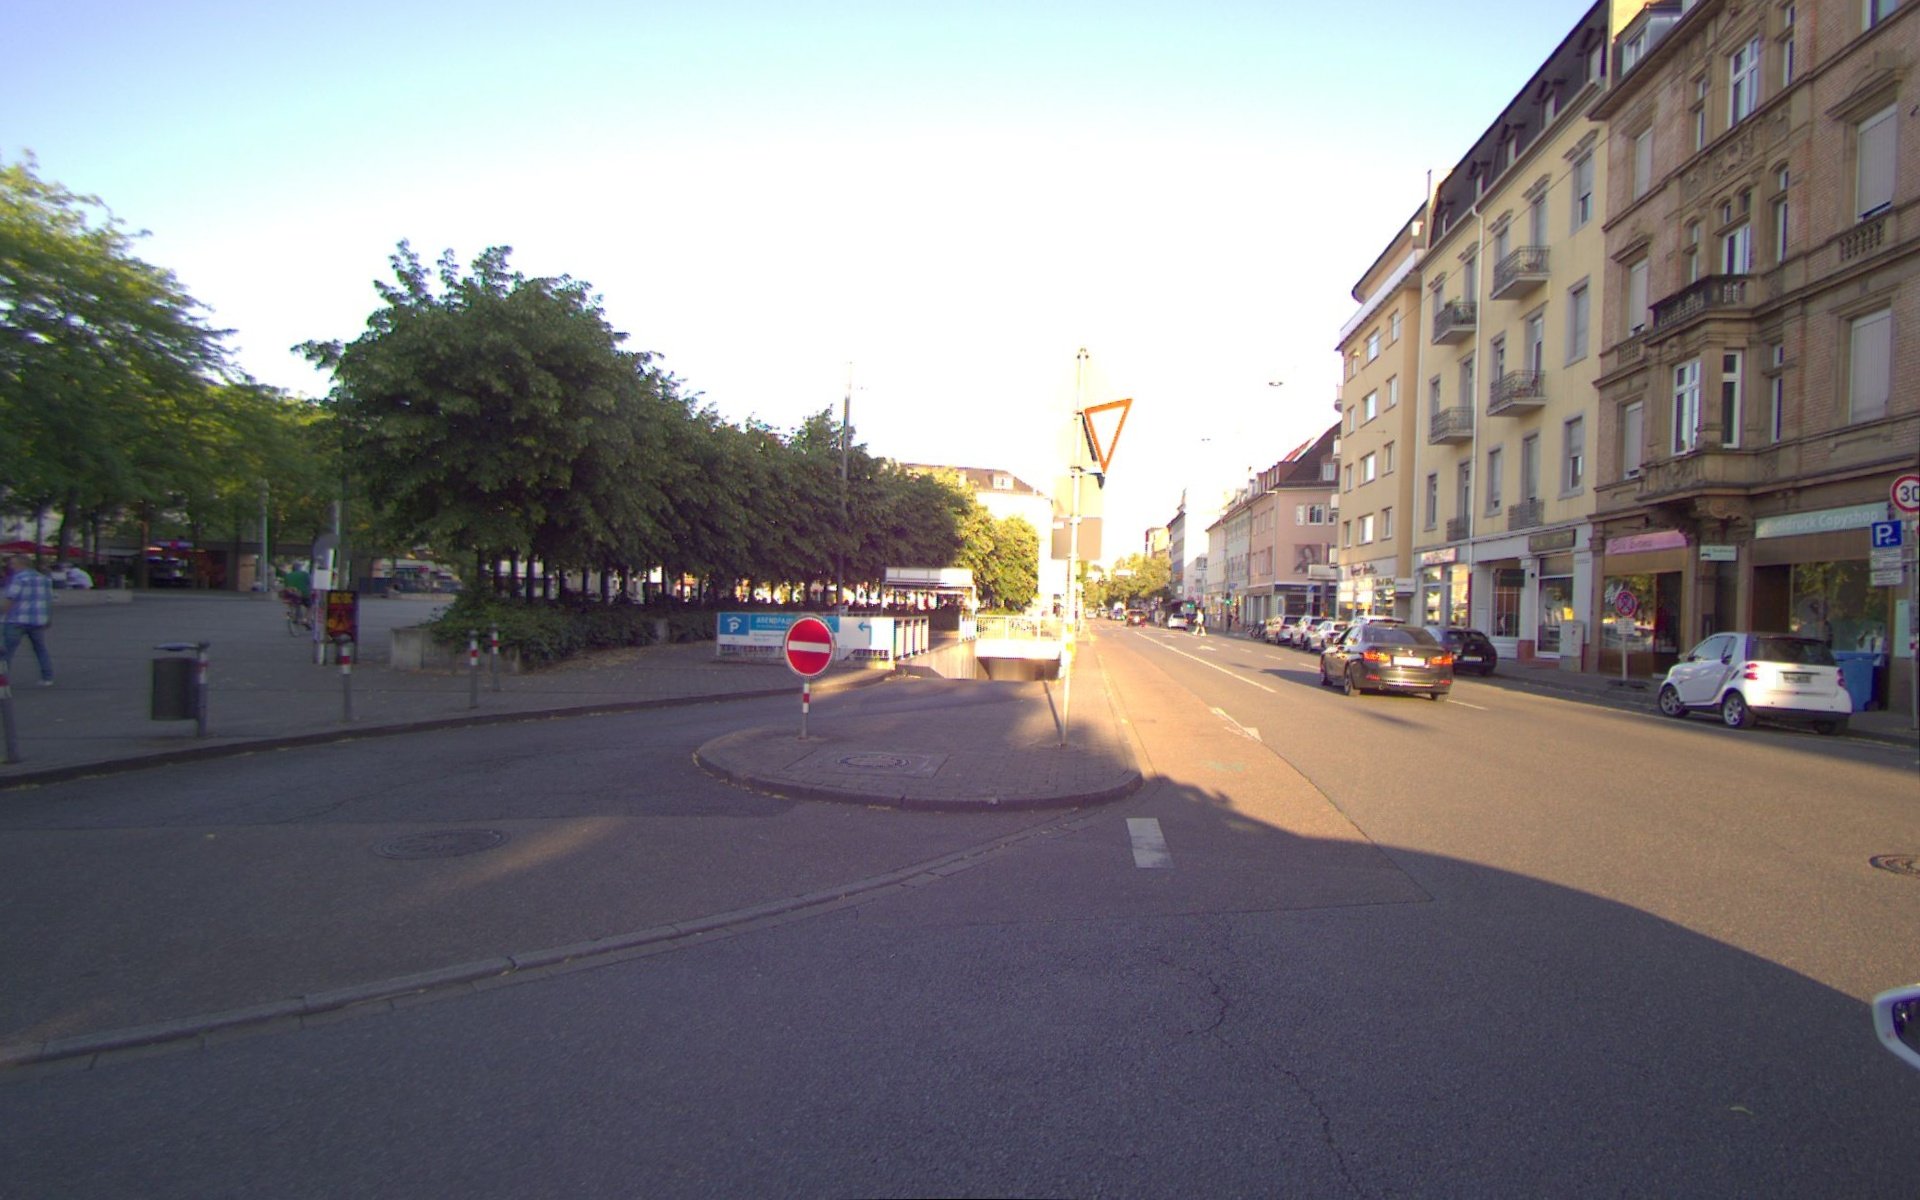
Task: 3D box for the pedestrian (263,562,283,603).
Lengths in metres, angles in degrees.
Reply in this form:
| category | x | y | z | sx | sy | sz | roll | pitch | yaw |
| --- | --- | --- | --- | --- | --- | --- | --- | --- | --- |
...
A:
| category | x | y | z | sx | sy | sz | roll | pitch | yaw |
| --- | --- | --- | --- | --- | --- | --- | --- | --- | --- |
| pedestrian | -33.260 | -0.845 | 48.614 | 0.722 | 1.974 | 0.798 | 2 | 0 | -32 |

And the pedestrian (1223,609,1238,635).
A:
| category | x | y | z | sx | sy | sz | roll | pitch | yaw |
| --- | --- | --- | --- | --- | --- | --- | --- | --- | --- |
| pedestrian | 18.836 | 1.511 | 69.918 | 0.781 | 1.743 | 0.812 | 2 | 0 | 0 |

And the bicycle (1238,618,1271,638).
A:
| category | x | y | z | sx | sy | sz | roll | pitch | yaw |
| --- | --- | --- | --- | --- | --- | --- | --- | --- | --- |
| bicycle | 18.489 | 1.741 | 63.059 | 1.852 | 1.127 | 0.602 | 2 | 0 | 4 |

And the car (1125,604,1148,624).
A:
| category | x | y | z | sx | sy | sz | roll | pitch | yaw |
| --- | --- | --- | --- | --- | --- | --- | --- | --- | --- |
| car | 17.448 | 1.361 | 99.181 | 1.959 | 1.773 | 4.002 | 2 | 0 | 7 |

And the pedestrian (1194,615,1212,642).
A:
| category | x | y | z | sx | sy | sz | roll | pitch | yaw |
| --- | --- | --- | --- | --- | --- | --- | --- | --- | --- |
| pedestrian | 16.270 | 1.918 | 67.207 | 0.858 | 1.743 | 0.756 | 2 | 0 | -18 |

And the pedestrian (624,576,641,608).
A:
| category | x | y | z | sx | sy | sz | roll | pitch | yaw |
| --- | --- | --- | --- | --- | --- | --- | --- | --- | --- |
| pedestrian | -20.245 | -0.501 | 62.065 | 0.723 | 1.974 | 0.797 | 2 | 0 | -33 |

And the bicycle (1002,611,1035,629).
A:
| category | x | y | z | sx | sy | sz | roll | pitch | yaw |
| --- | --- | --- | --- | --- | --- | --- | --- | --- | --- |
| bicycle | 3.718 | 1.288 | 63.916 | 2.009 | 0.984 | 0.636 | 4 | 0 | 5 |

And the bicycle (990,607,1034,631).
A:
| category | x | y | z | sx | sy | sz | roll | pitch | yaw |
| --- | --- | --- | --- | --- | --- | --- | --- | --- | --- |
| bicycle | 3.164 | 1.149 | 61.180 | 2.465 | 1.301 | 0.815 | 2 | 0 | 27 |

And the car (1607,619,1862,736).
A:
| category | x | y | z | sx | sy | sz | roll | pitch | yaw |
| --- | --- | --- | --- | --- | --- | --- | --- | --- | --- |
| car | 13.223 | 1.231 | 17.499 | 1.671 | 1.606 | 4.001 | 2 | 1 | 7 |

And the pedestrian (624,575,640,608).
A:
| category | x | y | z | sx | sy | sz | roll | pitch | yaw |
| --- | --- | --- | --- | --- | --- | --- | --- | --- | --- |
| pedestrian | -20.147 | -0.499 | 61.653 | 0.793 | 1.974 | 0.684 | 2 | 0 | -23 |

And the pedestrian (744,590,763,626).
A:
| category | x | y | z | sx | sy | sz | roll | pitch | yaw |
| --- | --- | --- | --- | --- | --- | --- | --- | --- | --- |
| pedestrian | -11.694 | 0.450 | 56.900 | 0.788 | 1.974 | 0.731 | 2 | 0 | 14 |

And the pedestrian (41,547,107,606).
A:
| category | x | y | z | sx | sy | sz | roll | pitch | yaw |
| --- | --- | --- | --- | --- | --- | --- | --- | --- | --- |
| pedestrian | -26.414 | -0.691 | 29.968 | 1.248 | 1.669 | 0.705 | 2 | 0 | -21 |

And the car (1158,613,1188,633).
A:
| category | x | y | z | sx | sy | sz | roll | pitch | yaw |
| --- | --- | --- | --- | --- | --- | --- | --- | --- | --- |
| car | 19.629 | 2.101 | 92.805 | 2.294 | 1.625 | 3.896 | 2 | 0 | 7 |

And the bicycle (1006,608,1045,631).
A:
| category | x | y | z | sx | sy | sz | roll | pitch | yaw |
| --- | --- | --- | --- | --- | --- | --- | --- | --- | --- |
| bicycle | 4.086 | 1.199 | 62.594 | 2.390 | 1.253 | 0.518 | 4 | 0 | 5 |

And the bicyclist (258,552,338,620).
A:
| category | x | y | z | sx | sy | sz | roll | pitch | yaw |
| --- | --- | --- | --- | --- | --- | --- | --- | --- | --- |
| bicyclist | -15.454 | -0.315 | 23.488 | 1.358 | 1.530 | 0.751 | 2 | 0 | -14 |

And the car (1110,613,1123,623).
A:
| category | x | y | z | sx | sy | sz | roll | pitch | yaw |
| --- | --- | --- | --- | --- | --- | --- | --- | --- | --- |
| car | 23.829 | 2.717 | 152.979 | 1.852 | 1.506 | 4.002 | 2 | 0 | 8 |

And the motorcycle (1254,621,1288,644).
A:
| category | x | y | z | sx | sy | sz | roll | pitch | yaw |
| --- | --- | --- | --- | --- | --- | --- | --- | --- | --- |
| motorcycle | 18.451 | 1.924 | 59.608 | 1.781 | 1.280 | 0.716 | 1 | 0 | 4 |

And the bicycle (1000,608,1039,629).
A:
| category | x | y | z | sx | sy | sz | roll | pitch | yaw |
| --- | --- | --- | --- | --- | --- | --- | --- | --- | --- |
| bicycle | 3.747 | 1.171 | 63.321 | 2.390 | 1.253 | 0.462 | 2 | 0 | 5 |

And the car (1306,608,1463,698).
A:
| category | x | y | z | sx | sy | sz | roll | pitch | yaw |
| --- | --- | --- | --- | --- | --- | --- | --- | --- | --- |
| car | 8.299 | 0.967 | 20.036 | 1.856 | 1.511 | 4.207 | 2 | 0 | 9 |

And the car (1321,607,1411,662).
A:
| category | x | y | z | sx | sy | sz | roll | pitch | yaw |
| --- | --- | --- | --- | --- | --- | --- | --- | --- | --- |
| car | 14.907 | 1.210 | 37.183 | 1.850 | 1.768 | 4.661 | 2 | 1 | 6 |

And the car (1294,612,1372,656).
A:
| category | x | y | z | sx | sy | sz | roll | pitch | yaw |
| --- | --- | --- | --- | --- | --- | --- | --- | --- | --- |
| car | 15.747 | 1.396 | 42.655 | 1.981 | 1.564 | 4.871 | 2 | 1 | 7 |

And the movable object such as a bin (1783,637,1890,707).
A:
| category | x | y | z | sx | sy | sz | roll | pitch | yaw |
| --- | --- | --- | --- | --- | --- | --- | --- | --- | --- |
| movable object such as a bin | 16.529 | 1.342 | 18.994 | 0.851 | 1.202 | 1.399 | 2 | 0 | 6 |

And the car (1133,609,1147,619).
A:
| category | x | y | z | sx | sy | sz | roll | pitch | yaw |
| --- | --- | --- | --- | --- | --- | --- | --- | --- | --- |
| car | 30.573 | 2.322 | 170.722 | 1.959 | 1.638 | 4.002 | 2 | 0 | 7 |

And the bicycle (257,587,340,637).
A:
| category | x | y | z | sx | sy | sz | roll | pitch | yaw |
| --- | --- | --- | --- | --- | --- | --- | --- | --- | --- |
| bicycle | -15.579 | 0.265 | 23.742 | 0.936 | 1.116 | 2.321 | 2 | 0 | -15 |

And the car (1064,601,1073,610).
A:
| category | x | y | z | sx | sy | sz | roll | pitch | yaw |
| --- | --- | --- | --- | --- | --- | --- | --- | --- | --- |
| car | 24.796 | 1.310 | 229.450 | 1.796 | 2.040 | 3.678 | 2 | 0 | 8 |

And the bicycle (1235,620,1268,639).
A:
| category | x | y | z | sx | sy | sz | roll | pitch | yaw |
| --- | --- | --- | --- | --- | --- | --- | --- | --- | --- |
| bicycle | 18.802 | 1.889 | 64.797 | 1.852 | 1.127 | 0.762 | 2 | 0 | 3 |

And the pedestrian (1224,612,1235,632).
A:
| category | x | y | z | sx | sy | sz | roll | pitch | yaw |
| --- | --- | --- | --- | --- | --- | --- | --- | --- | --- |
| pedestrian | 25.406 | 2.085 | 94.809 | 0.744 | 1.800 | 1.049 | 2 | 0 | 2 |

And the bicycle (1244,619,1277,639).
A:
| category | x | y | z | sx | sy | sz | roll | pitch | yaw |
| --- | --- | --- | --- | --- | --- | --- | --- | --- | --- |
| bicycle | 18.459 | 1.799 | 61.678 | 1.852 | 1.127 | 0.593 | 3 | -1 | 4 |

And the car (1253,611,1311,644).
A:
| category | x | y | z | sx | sy | sz | roll | pitch | yaw |
| --- | --- | --- | --- | --- | --- | --- | --- | --- | --- |
| car | 17.372 | 1.444 | 54.369 | 1.960 | 1.634 | 4.806 | 2 | 0 | 5 |

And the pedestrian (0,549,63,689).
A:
| category | x | y | z | sx | sy | sz | roll | pitch | yaw |
| --- | --- | --- | --- | --- | --- | --- | --- | --- | --- |
| pedestrian | -12.170 | 0.232 | 13.047 | 0.678 | 1.769 | 0.712 | 3 | 2 | 43 |

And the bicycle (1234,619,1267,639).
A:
| category | x | y | z | sx | sy | sz | roll | pitch | yaw |
| --- | --- | --- | --- | --- | --- | --- | --- | --- | --- |
| bicycle | 18.491 | 1.860 | 64.019 | 1.852 | 1.183 | 0.723 | 2 | 0 | 3 |

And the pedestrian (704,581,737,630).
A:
| category | x | y | z | sx | sy | sz | roll | pitch | yaw |
| --- | --- | --- | --- | --- | --- | --- | --- | --- | --- |
| pedestrian | -10.132 | 0.237 | 42.557 | 0.898 | 2.040 | 0.917 | 2 | 0 | 29 |

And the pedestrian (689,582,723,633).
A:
| category | x | y | z | sx | sy | sz | roll | pitch | yaw |
| --- | --- | --- | --- | --- | --- | --- | --- | --- | --- |
| pedestrian | -10.380 | 0.318 | 40.996 | 0.898 | 2.040 | 0.917 | 2 | 0 | 29 |

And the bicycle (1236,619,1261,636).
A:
| category | x | y | z | sx | sy | sz | roll | pitch | yaw |
| --- | --- | --- | --- | --- | --- | --- | --- | --- | --- |
| bicycle | 18.789 | 1.804 | 65.405 | 1.475 | 1.040 | 0.512 | 1 | 0 | 2 |

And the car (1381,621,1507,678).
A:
| category | x | y | z | sx | sy | sz | roll | pitch | yaw |
| --- | --- | --- | --- | --- | --- | --- | --- | --- | --- |
| car | 14.731 | 1.442 | 30.912 | 1.959 | 1.453 | 4.853 | 2 | 0 | 7 |

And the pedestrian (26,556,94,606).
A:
| category | x | y | z | sx | sy | sz | roll | pitch | yaw |
| --- | --- | --- | --- | --- | --- | --- | --- | --- | --- |
| pedestrian | -26.199 | -0.542 | 29.256 | 1.249 | 1.398 | 0.734 | 2 | 0 | -22 |

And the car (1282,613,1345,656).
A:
| category | x | y | z | sx | sy | sz | roll | pitch | yaw |
| --- | --- | --- | --- | --- | --- | --- | --- | --- | --- |
| car | 16.865 | 1.594 | 48.135 | 1.836 | 1.786 | 4.410 | 2 | 1 | 6 |

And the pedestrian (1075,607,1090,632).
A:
| category | x | y | z | sx | sy | sz | roll | pitch | yaw |
| --- | --- | --- | --- | --- | --- | --- | --- | --- | --- |
| pedestrian | 8.537 | 1.368 | 70.178 | 0.868 | 1.743 | 0.715 | 2 | 0 | -5 |
